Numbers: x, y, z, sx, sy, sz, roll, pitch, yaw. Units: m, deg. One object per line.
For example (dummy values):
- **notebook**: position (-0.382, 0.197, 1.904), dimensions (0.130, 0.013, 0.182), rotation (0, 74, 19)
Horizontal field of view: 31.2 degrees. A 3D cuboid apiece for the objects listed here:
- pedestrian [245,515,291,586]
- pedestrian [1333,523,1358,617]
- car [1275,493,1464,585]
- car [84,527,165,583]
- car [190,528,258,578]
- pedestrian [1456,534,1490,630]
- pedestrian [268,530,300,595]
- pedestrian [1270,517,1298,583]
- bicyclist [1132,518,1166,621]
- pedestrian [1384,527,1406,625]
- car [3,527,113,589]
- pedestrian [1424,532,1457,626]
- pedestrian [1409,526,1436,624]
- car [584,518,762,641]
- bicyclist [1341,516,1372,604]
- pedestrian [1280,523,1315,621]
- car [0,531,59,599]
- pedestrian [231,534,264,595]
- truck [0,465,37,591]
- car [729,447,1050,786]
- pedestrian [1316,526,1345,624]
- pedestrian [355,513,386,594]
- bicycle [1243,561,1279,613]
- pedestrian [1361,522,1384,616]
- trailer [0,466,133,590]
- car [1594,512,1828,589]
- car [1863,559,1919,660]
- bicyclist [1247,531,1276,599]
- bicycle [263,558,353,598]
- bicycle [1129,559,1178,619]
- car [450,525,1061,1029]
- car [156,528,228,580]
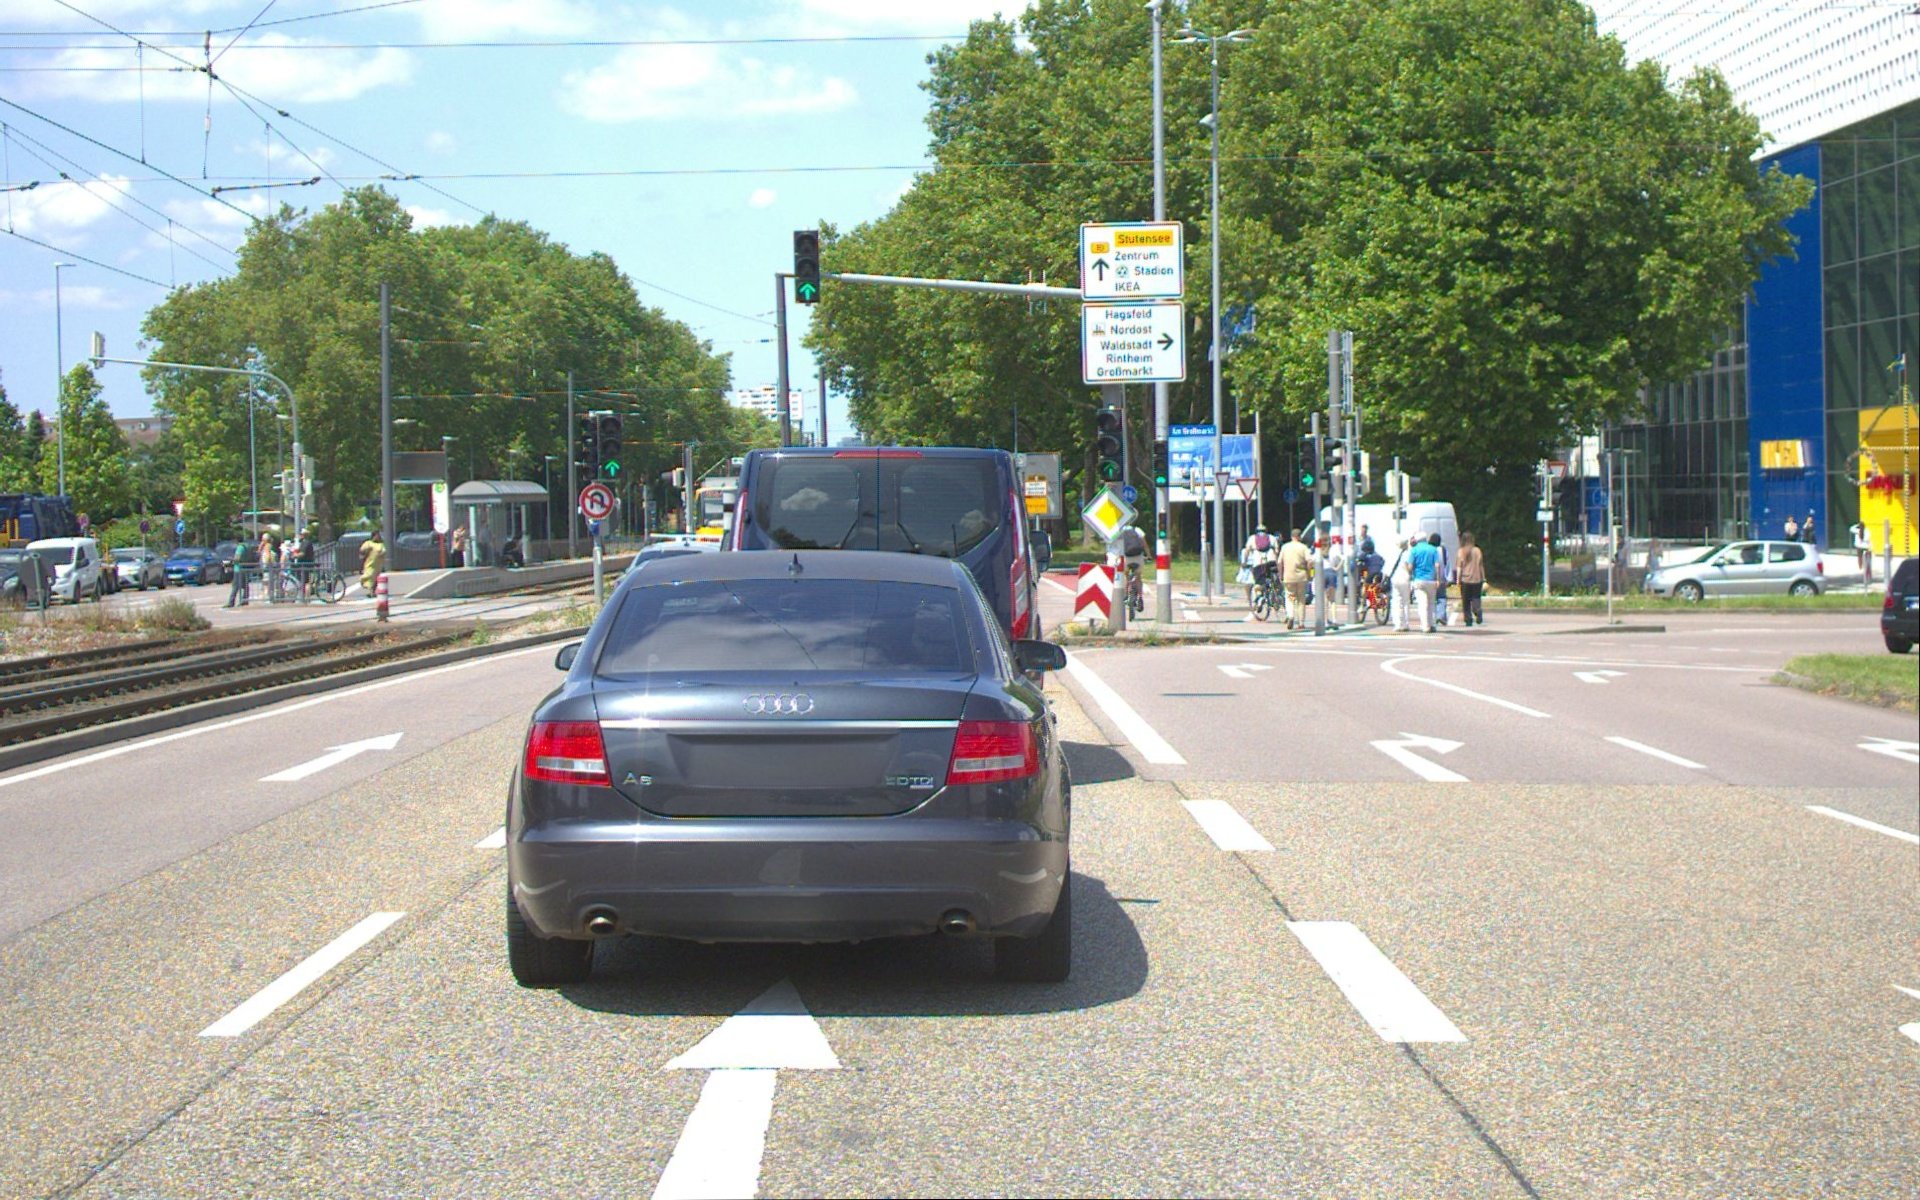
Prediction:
- **pedestrian**: position (-16.972, -1.215, 84.302), dimensions (0.824, 1.714, 0.774), rotation (1, 1, 22)
- **pedestrian**: position (6.692, -0.528, 59.661), dimensions (0.381, 1.629, 0.377), rotation (0, 1, 3)
- **car**: position (10.574, -1.593, 89.034), dimensions (1.994, 2.301, 4.773), rotation (-1, 1, -40)
- **car**: position (-28.492, -1.562, 117.343), dimensions (1.817, 1.876, 4.000), rotation (0, 1, -1)
- **car**: position (-28.339, -1.814, 132.477), dimensions (1.817, 1.876, 4.000), rotation (0, 1, -1)
- **pedestrian**: position (8.952, -0.312, 60.049), dimensions (0.521, 1.664, 0.494), rotation (0, 1, 3)
- **pedestrian**: position (-16.242, -0.909, 82.570), dimensions (0.685, 1.559, 0.573), rotation (0, 1, -4)
- **pedestrian**: position (7.464, -1.154, 79.081), dimensions (0.494, 1.514, 0.706), rotation (1, 1, 17)
- **bicyclist**: position (3.284, -0.533, 59.734), dimensions (0.528, 1.783, 1.088), rotation (0, 1, 0)
- **pedestrian**: position (7.269, -0.409, 57.483), dimensions (0.320, 1.629, 0.377), rotation (0, 1, 3)
- **car**: position (-25.269, -1.205, 96.416), dimensions (1.822, 1.664, 4.461), rotation (1, 1, 1)
- **pedestrian**: position (8.394, -0.371, 60.078), dimensions (0.504, 1.629, 0.449), rotation (0, 1, 3)
- **pedestrian**: position (7.722, -0.422, 57.431), dimensions (0.398, 1.629, 0.371), rotation (0, 1, 3)
- **car**: position (-3.722, -0.306, 45.219), dimensions (1.993, 1.481, 4.000), rotation (1, 1, 0)
- **bicyclist**: position (8.038, -0.808, 69.616), dimensions (0.529, 1.758, 0.827), rotation (0, 1, 13)
- **pedestrian**: position (5.655, -0.470, 57.655), dimensions (0.554, 1.629, 0.433), rotation (0, 1, 3)
- **car**: position (-24.782, -0.920, 88.870), dimensions (1.822, 1.664, 4.462), rotation (1, 1, 0)
- **pedestrian**: position (-16.882, -0.840, 81.459), dimensions (0.685, 1.438, 0.573), rotation (0, 1, -4)
- **truck**: position (-28.561, -2.062, 98.160), dimensions (2.767, 3.557, 6.440), rotation (0, 1, -1)
- **car**: position (-0.430, 0.060, 21.715), dimensions (1.836, 1.943, 4.000), rotation (0, 1, -1)
- **pedestrian**: position (6.210, -0.420, 57.585), dimensions (0.445, 1.629, 0.430), rotation (0, 1, 3)
- **pedestrian**: position (-14.676, -1.158, 85.597), dimensions (0.685, 2.007, 0.573), rotation (0, 1, -4)
- **bicycle**: position (5.274, -0.236, 60.310), dimensions (0.550, 0.874, 1.697), rotation (0, 1, 2)
- **pedestrian**: position (7.158, -0.544, 59.671), dimensions (0.339, 1.629, 0.377), rotation (0, 1, 3)
- **trailer**: position (-28.662, -2.218, 105.890), dimensions (2.767, 3.506, 15.879), rotation (0, 1, -1)
- **car**: position (15.753, -1.055, 72.309), dimensions (4.498, 1.481, 2.000), rotation (1, 1, 3)
- **car**: position (15.729, 0.144, 52.631), dimensions (1.999, 1.481, 3.990), rotation (3, 2, 43)
- **bicyclist**: position (5.270, -0.614, 60.183), dimensions (0.470, 1.189, 0.791), rotation (0, 1, 2)
- **bicycle**: position (-15.240, -0.523, 80.444), dimensions (2.055, 0.922, 0.753), rotation (0, 1, -10)
- **bicycle**: position (3.356, -0.207, 59.860), dimensions (0.688, 0.990, 2.752), rotation (0, 1, 0)
- **car**: position (-0.622, 0.485, 12.262), dimensions (1.792, 1.450, 4.000), rotation (-1, 2, 0)
- **car**: position (-28.362, -1.725, 126.990), dimensions (1.817, 1.876, 4.000), rotation (0, 1, -1)
